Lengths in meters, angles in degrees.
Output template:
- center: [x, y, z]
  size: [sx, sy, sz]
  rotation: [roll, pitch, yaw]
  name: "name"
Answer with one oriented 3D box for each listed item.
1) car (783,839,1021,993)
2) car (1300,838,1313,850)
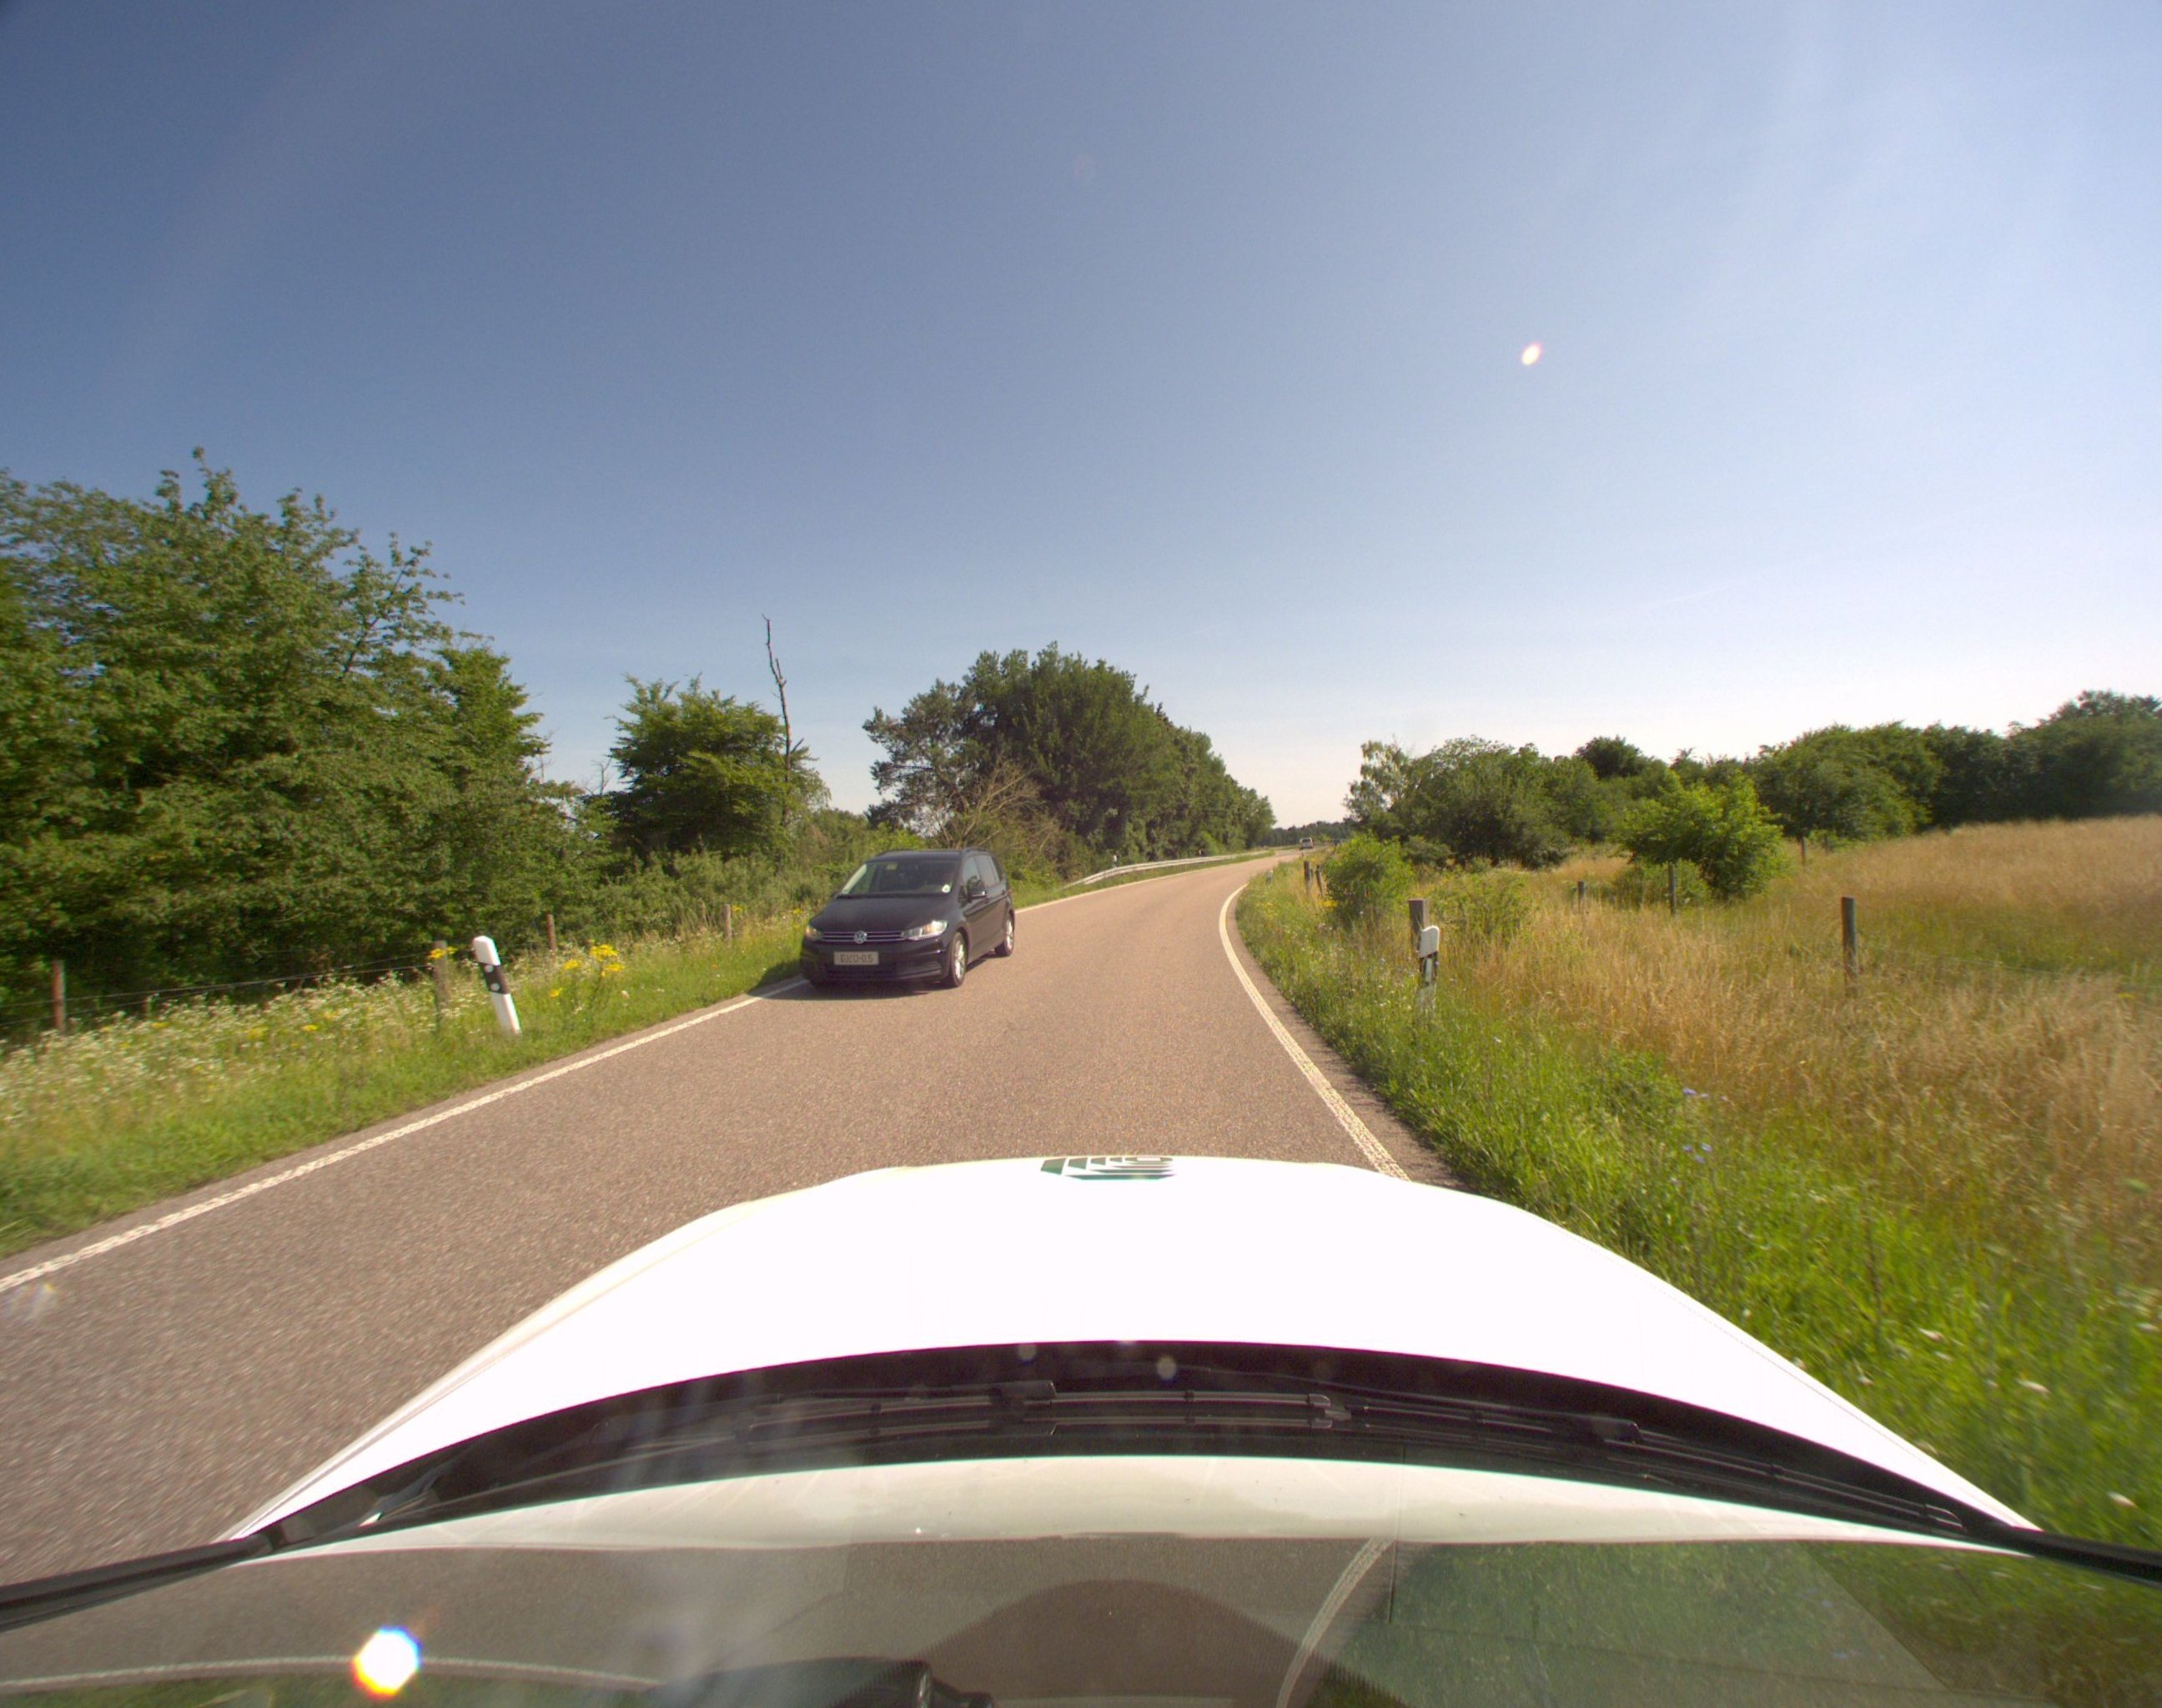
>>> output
- center: [-2.096, 0.676, 10.841]
  size: [1.774, 1.632, 4.169]
  rotation: [-1, 0, 7]
  name: "car"
- center: [38.231, -1.638, 137.981]
  size: [1.948, 1.802, 4.175]
  rotation: [-1, -1, 13]
  name: "car"
